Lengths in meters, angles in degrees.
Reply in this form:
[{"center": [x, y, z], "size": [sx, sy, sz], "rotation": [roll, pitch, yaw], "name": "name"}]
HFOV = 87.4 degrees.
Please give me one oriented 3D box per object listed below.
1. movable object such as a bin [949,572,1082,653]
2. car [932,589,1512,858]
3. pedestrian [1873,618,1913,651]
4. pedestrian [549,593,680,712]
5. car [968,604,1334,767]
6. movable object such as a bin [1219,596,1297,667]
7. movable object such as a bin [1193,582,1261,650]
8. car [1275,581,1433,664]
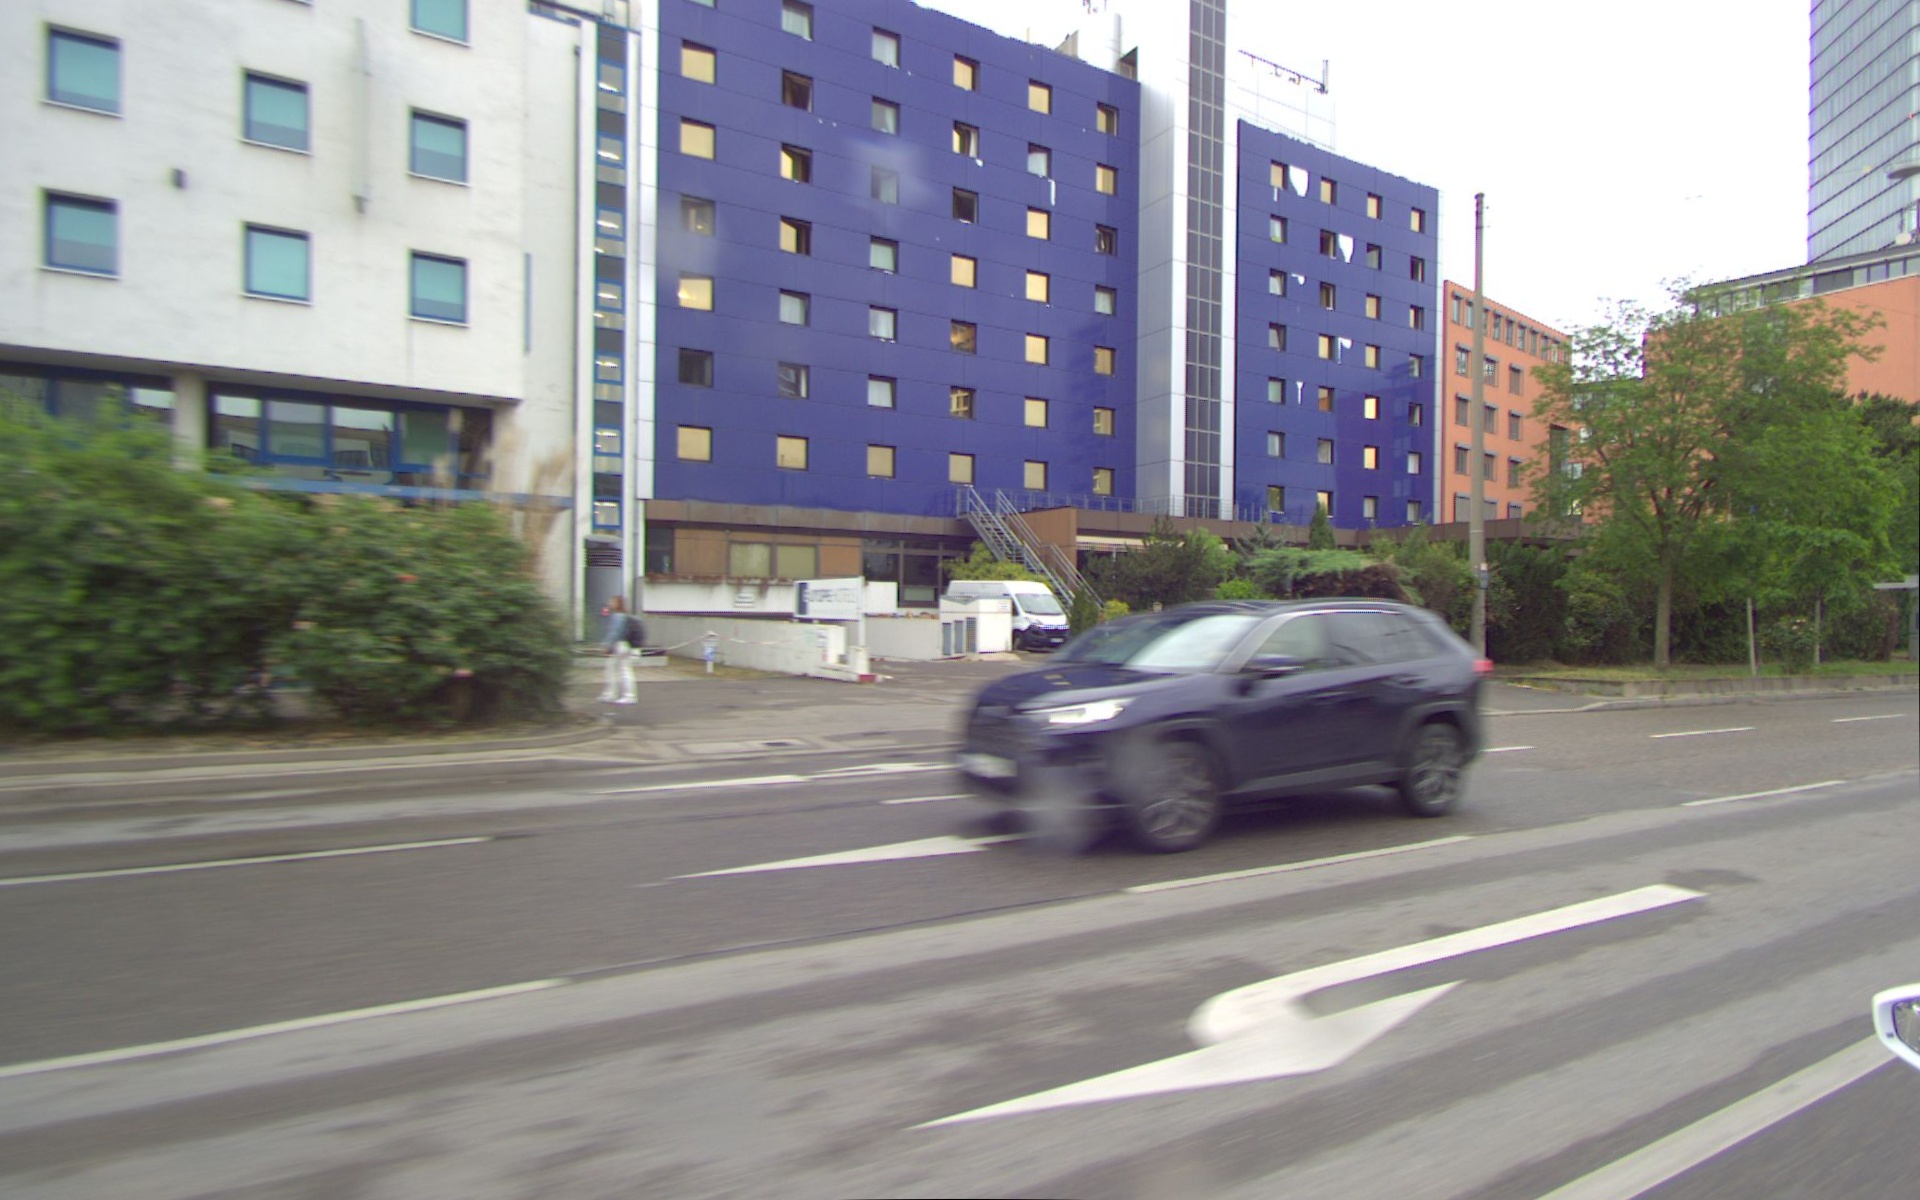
[{"center": [1.894, 0.566, 36.581], "size": [2.136, 2.662, 5.601], "rotation": [3, -4, -29], "name": "movable object such as a bin"}, {"center": [2.134, 0.746, 7.776], "size": [4.398, 1.576, 1.748], "rotation": [0, -2, -31], "name": "car"}, {"center": [49.818, 1.861, 53.653], "size": [1.403, 1.701, 1.201], "rotation": [3, -4, -30], "name": "pedestrian"}, {"center": [-5.383, 0.764, 15.871], "size": [1.665, 1.743, 1.996], "rotation": [0, 1, -10], "name": "pedestrian"}, {"center": [2.242, 0.883, 11.549], "size": [3.986, 1.586, 1.700], "rotation": [0, -3, -30], "name": "car"}, {"center": [6.588, 0.717, 22.258], "size": [0.943, 1.510, 1.379], "rotation": [4, -4, -39], "name": "movable object such as a bin"}, {"center": [6.311, 0.404, 23.808], "size": [0.936, 1.510, 1.389], "rotation": [2, -4, -18], "name": "movable object such as a bin"}, {"center": [10.926, 0.689, 27.793], "size": [4.266, 2.039, 1.828], "rotation": [3, -4, -30], "name": "car"}]
